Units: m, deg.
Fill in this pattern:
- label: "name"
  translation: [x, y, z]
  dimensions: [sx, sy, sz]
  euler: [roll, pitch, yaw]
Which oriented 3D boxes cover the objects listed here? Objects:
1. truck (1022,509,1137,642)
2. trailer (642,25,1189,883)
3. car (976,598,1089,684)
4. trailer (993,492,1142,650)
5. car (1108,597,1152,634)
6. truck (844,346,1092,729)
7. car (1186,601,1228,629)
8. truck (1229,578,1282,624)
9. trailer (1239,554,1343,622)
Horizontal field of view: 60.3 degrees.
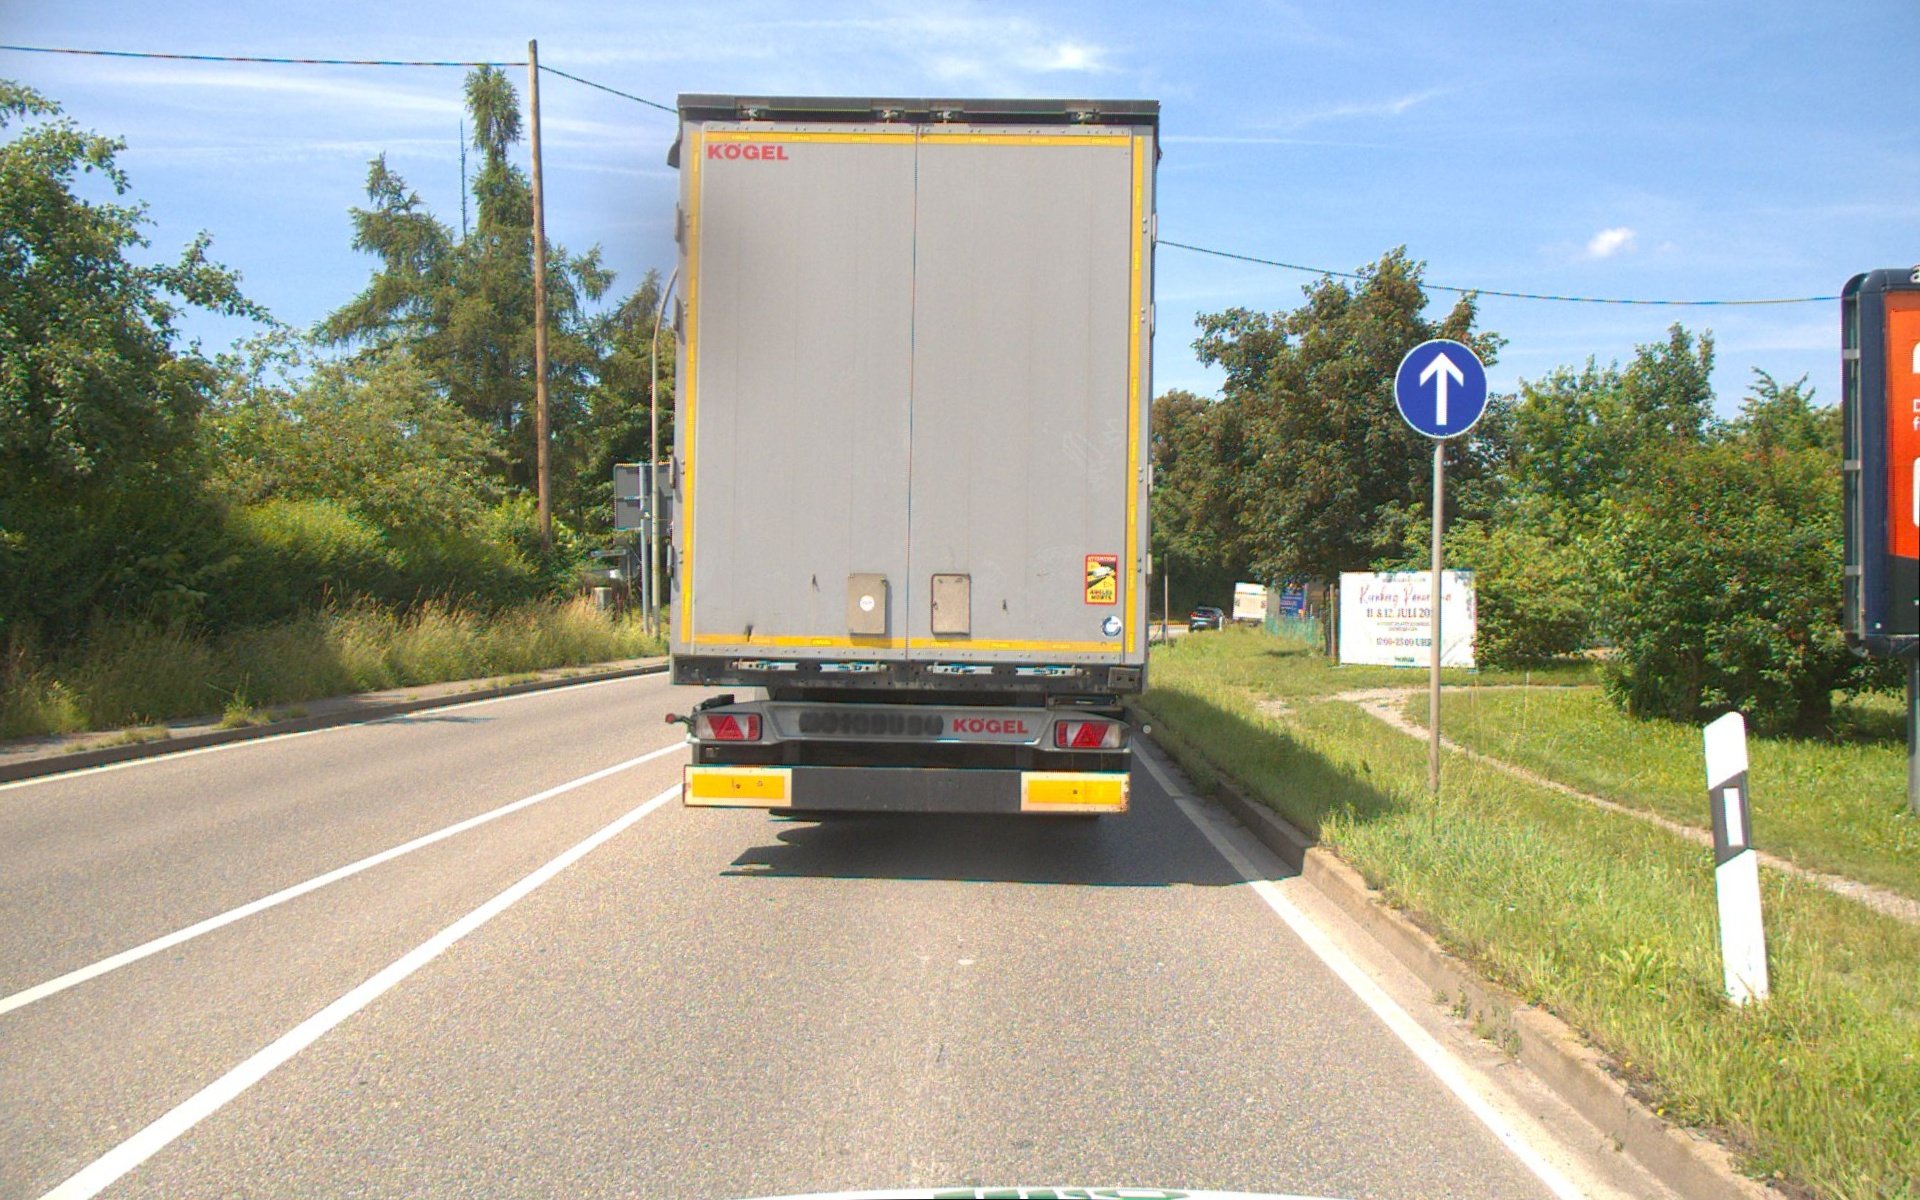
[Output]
- label: "truck"
  translation: [4.564, -0.860, 61.575]
  dimensions: [3.853, 4.655, 7.157]
  euler: [0, 0, 7]
- label: "trailer"
  translation: [0.001, -0.801, 14.352]
  dimensions: [2.729, 4.278, 12.115]
  euler: [0, 1, 2]
- label: "car"
  translation: [1.506, 0.764, 32.893]
  dimensions: [1.951, 1.557, 4.003]
  euler: [1, 0, 6]
- label: "trailer"
  translation: [3.822, -0.945, 54.715]
  dimensions: [3.808, 4.599, 12.724]
  euler: [0, 1, 9]
- label: "car"
  translation: [9.096, 0.802, 88.286]
  dimensions: [1.951, 1.870, 4.004]
  euler: [1, 1, 12]
- label: "truck"
  translation: [0.321, -0.744, 21.447]
  dimensions: [2.688, 4.238, 6.147]
  euler: [1, 1, 5]
- label: "car"
  translation: [14.309, 0.858, 95.811]
  dimensions: [1.802, 1.512, 4.002]
  euler: [0, 1, 18]
- label: "truck"
  translation: [19.138, 0.031, 107.032]
  dimensions: [2.371, 2.888, 5.412]
  euler: [1, 1, 21]
- label: "trailer"
  translation: [24.822, -0.943, 122.905]
  dimensions: [5.072, 4.709, 15.898]
  euler: [1, 1, 20]
